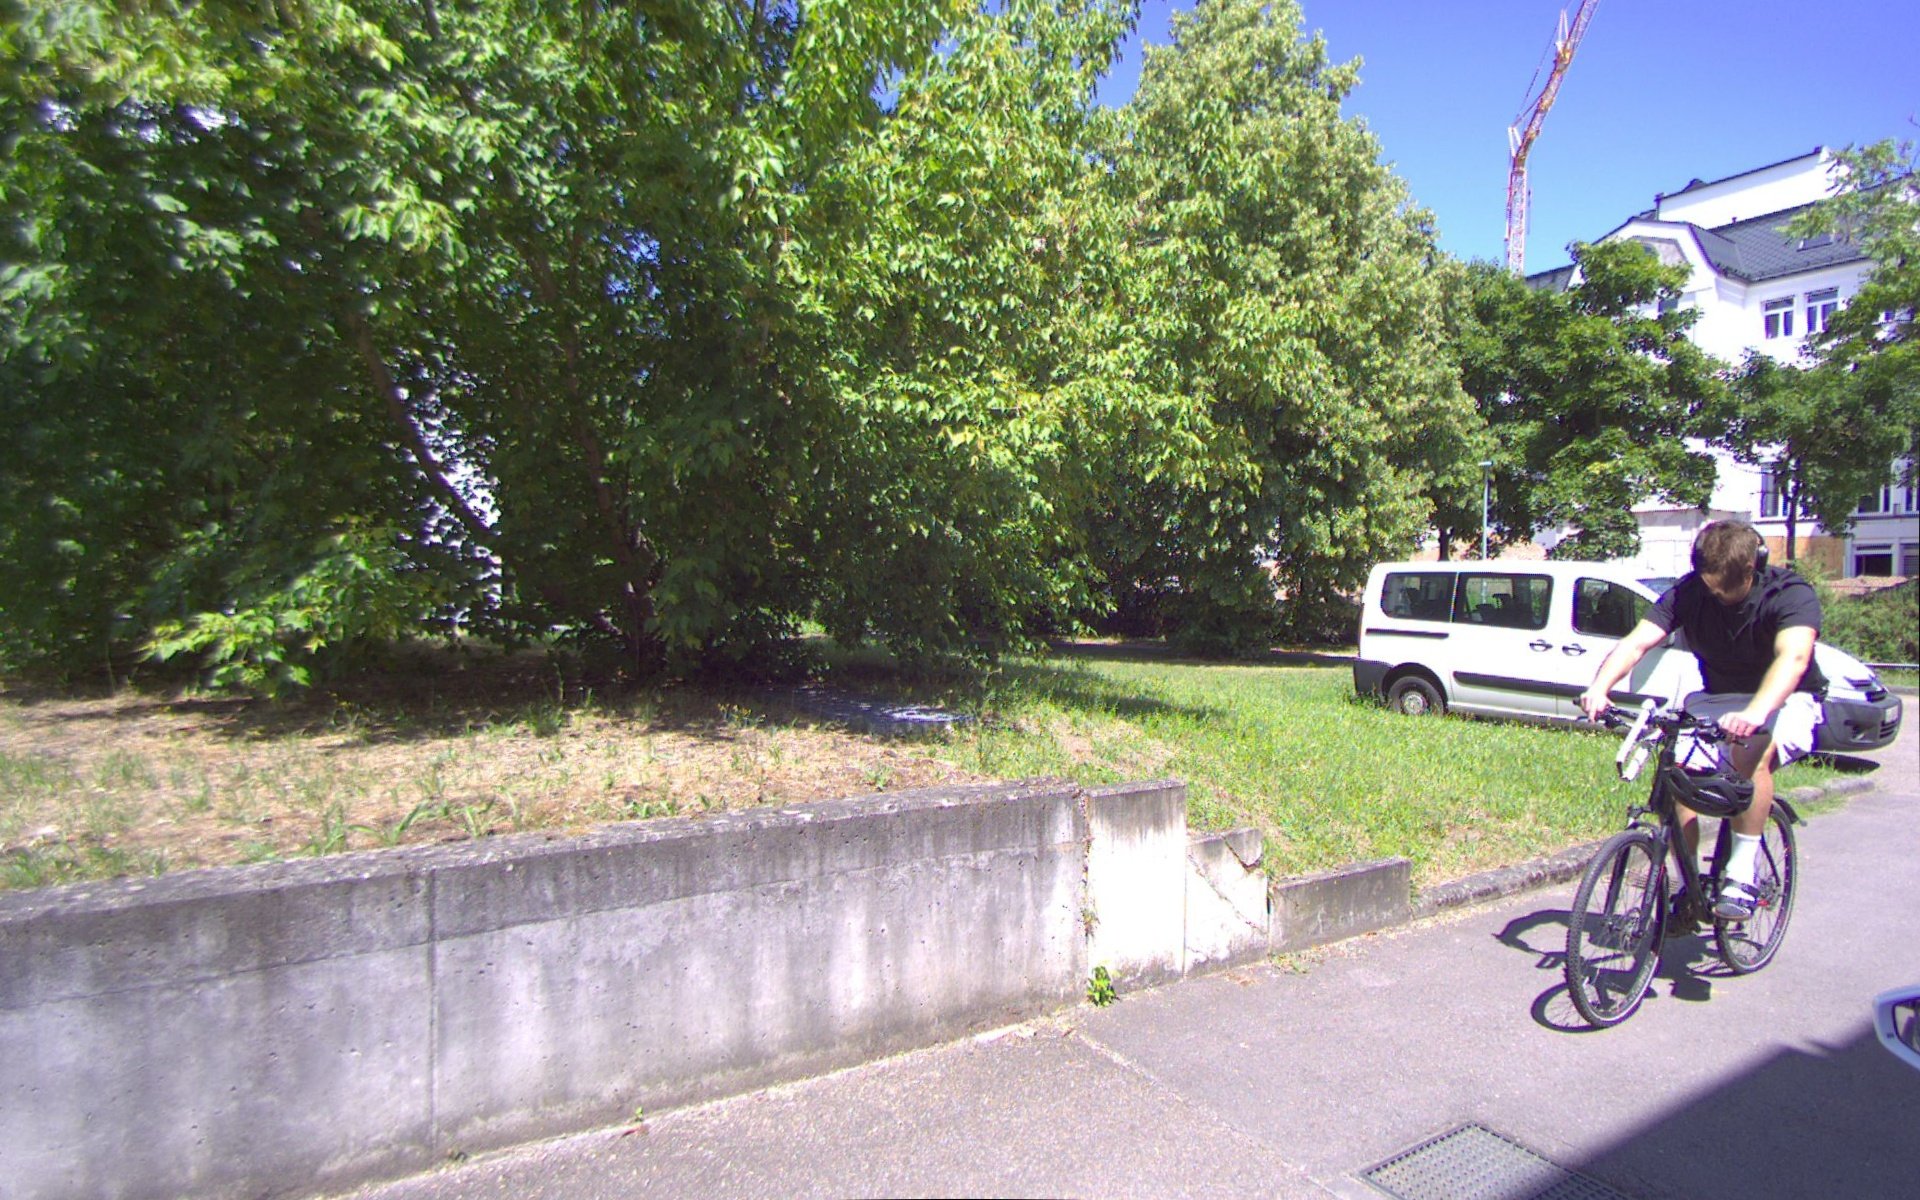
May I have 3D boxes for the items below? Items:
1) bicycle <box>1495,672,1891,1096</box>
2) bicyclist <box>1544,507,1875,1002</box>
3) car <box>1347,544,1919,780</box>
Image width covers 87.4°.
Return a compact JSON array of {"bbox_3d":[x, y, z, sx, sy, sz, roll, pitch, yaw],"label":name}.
[{"bbox_3d":[2.898,0.936,3.900,1.885,1.190,0.639,0,1,-35],"label":"bicycle"},{"bbox_3d":[2.887,0.507,3.875,0.968,1.631,0.718,0,1,-35],"label":"bicyclist"},{"bbox_3d":[6.851,0.503,10.751,1.981,1.937,4.753,0,0,-37],"label":"car"}]
